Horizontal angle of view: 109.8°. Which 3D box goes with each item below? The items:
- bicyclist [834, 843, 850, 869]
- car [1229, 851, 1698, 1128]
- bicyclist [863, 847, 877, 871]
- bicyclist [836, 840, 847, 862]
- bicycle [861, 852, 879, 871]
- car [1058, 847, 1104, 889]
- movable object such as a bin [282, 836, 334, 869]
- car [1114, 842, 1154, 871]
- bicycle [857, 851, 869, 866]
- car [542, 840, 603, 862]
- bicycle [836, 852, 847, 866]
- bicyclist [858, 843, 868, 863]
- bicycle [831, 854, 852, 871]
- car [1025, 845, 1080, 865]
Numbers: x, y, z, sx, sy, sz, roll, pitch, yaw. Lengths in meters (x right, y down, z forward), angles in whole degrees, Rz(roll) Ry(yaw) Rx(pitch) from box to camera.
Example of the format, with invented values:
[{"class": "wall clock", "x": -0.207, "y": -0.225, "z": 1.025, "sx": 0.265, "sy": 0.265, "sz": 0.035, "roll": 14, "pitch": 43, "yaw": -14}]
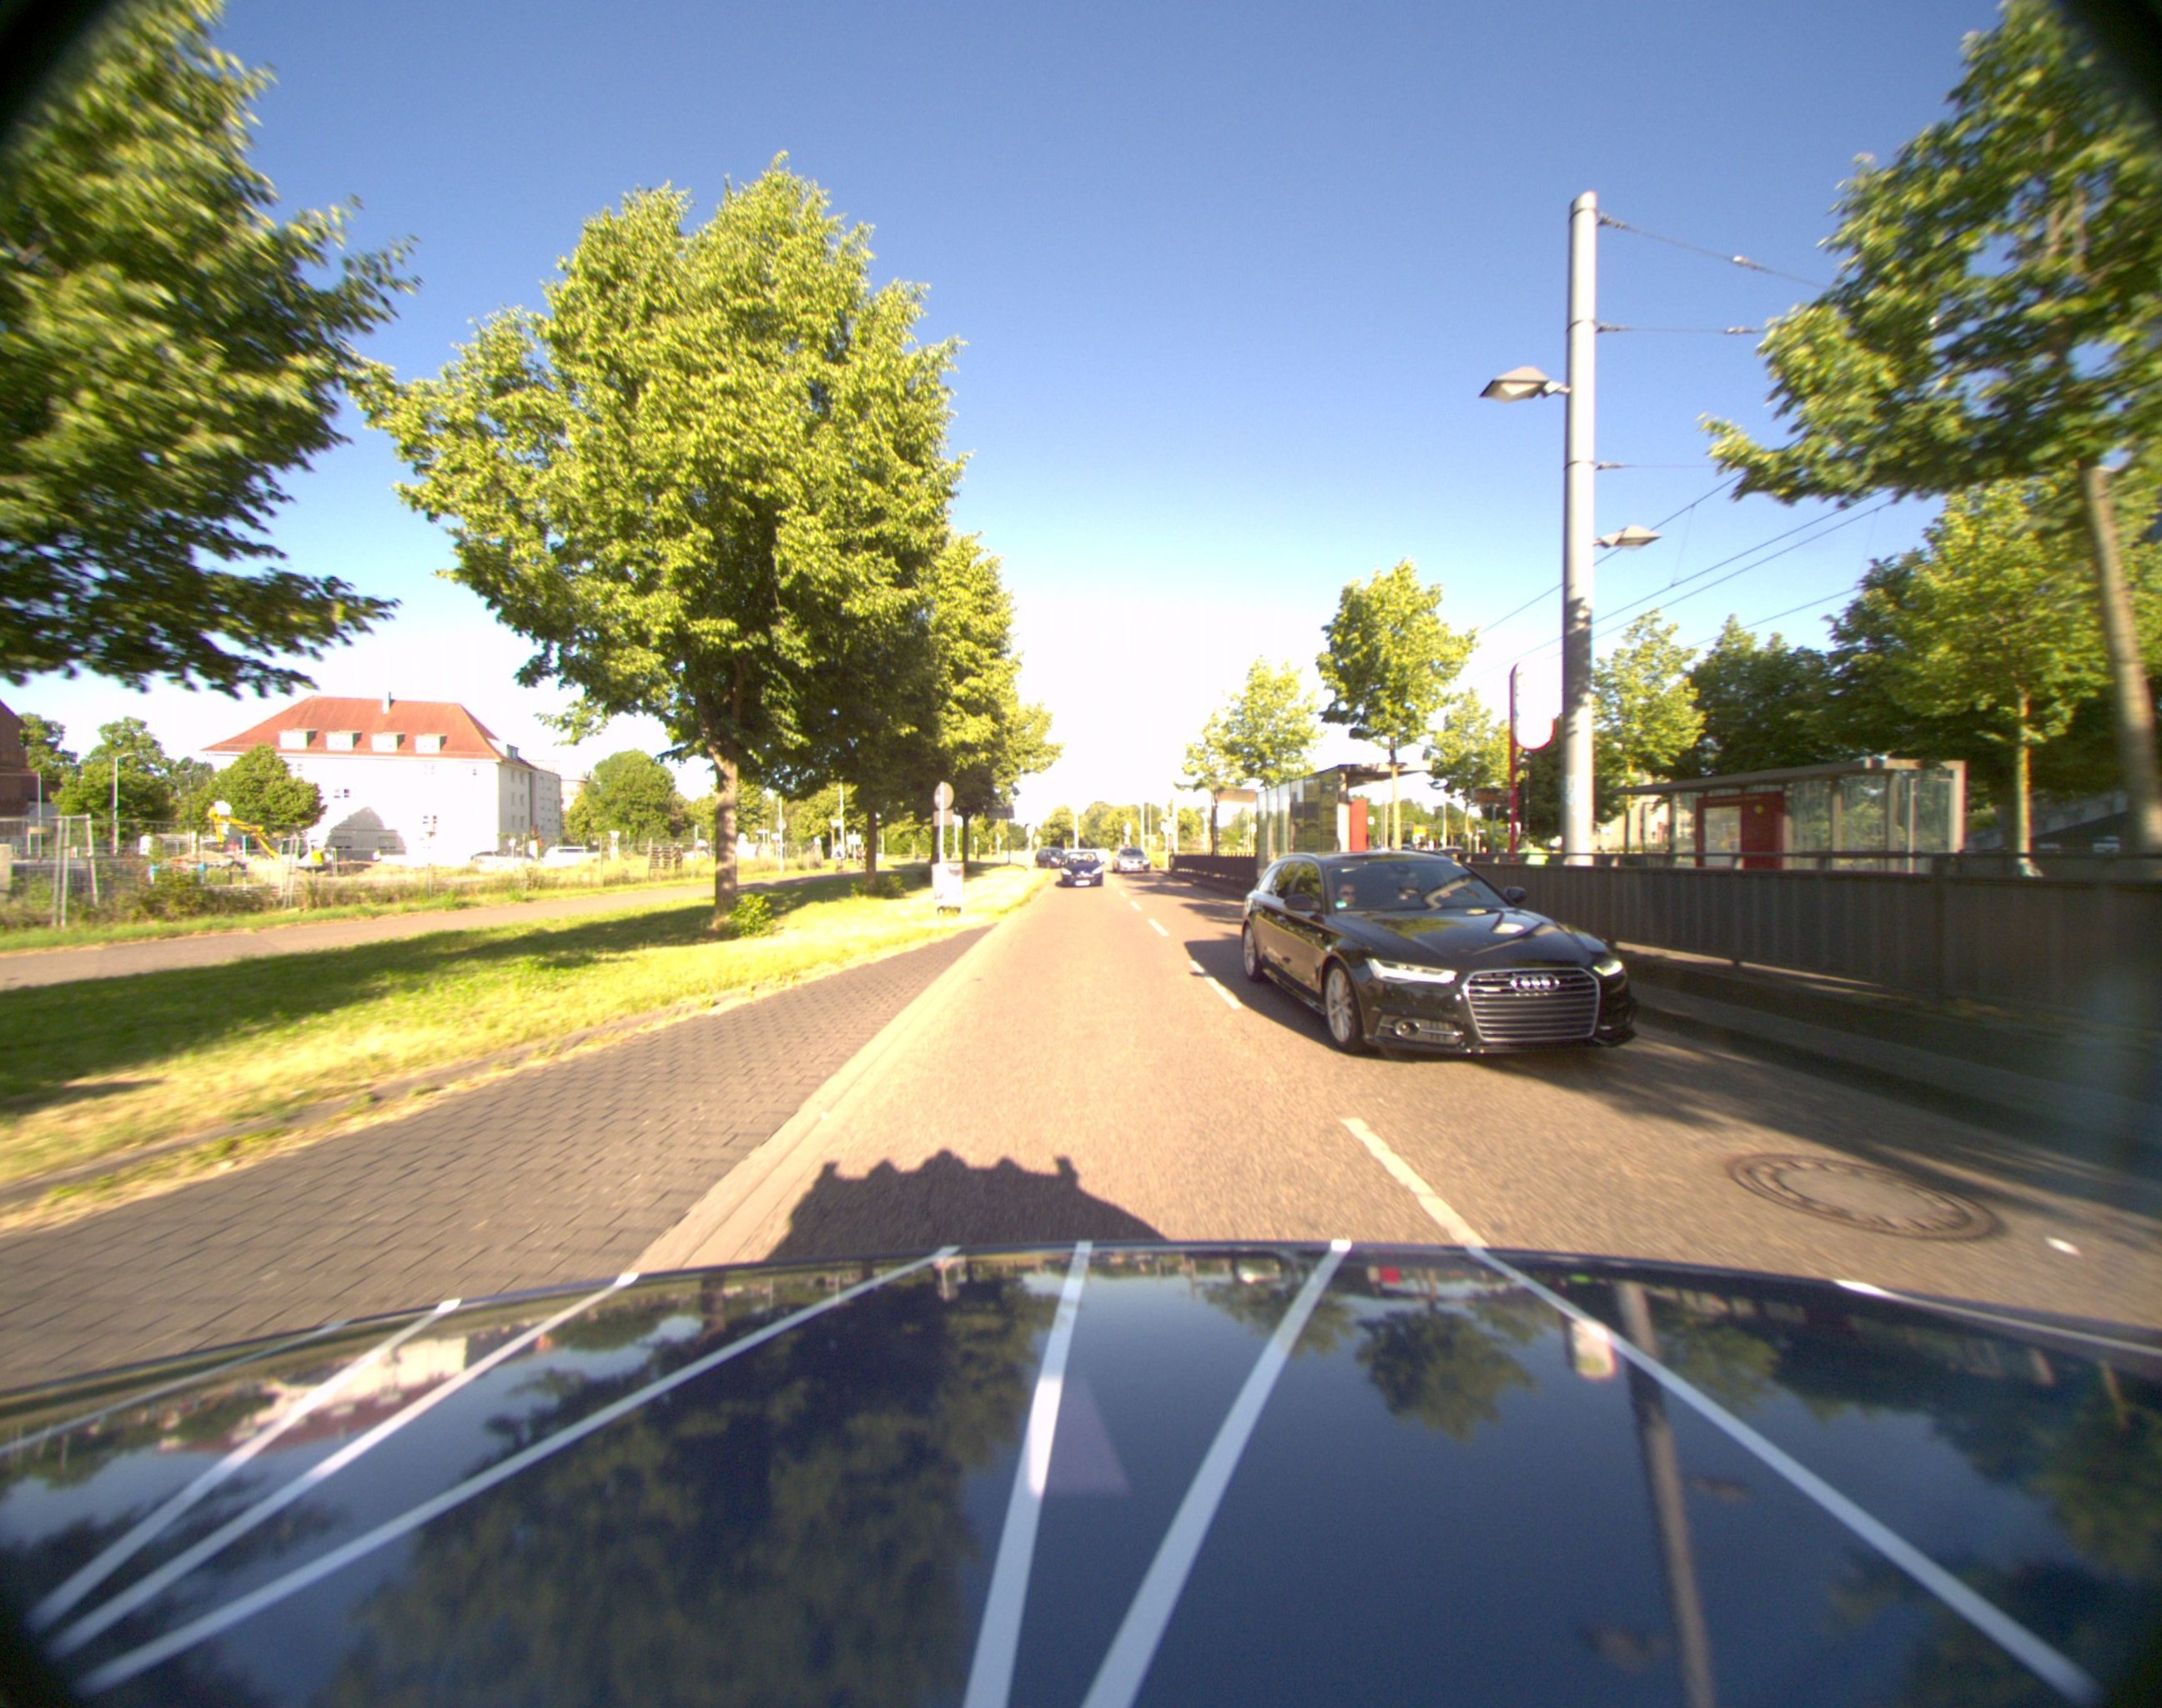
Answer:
[{"class": "bicyclist", "x": -14.378, "y": 0.108, "z": 45.669, "sx": 0.654, "sy": 1.544, "sz": 0.794, "roll": -1, "pitch": 2, "yaw": 1}, {"class": "car", "x": 2.694, "y": 0.787, "z": 6.742, "sx": 1.789, "sy": 1.518, "sz": 4.600, "roll": -1, "pitch": 1, "yaw": -1}, {"class": "bicyclist", "x": -12.855, "y": 0.310, "z": 46.315, "sx": 0.504, "sy": 1.464, "sz": 0.834, "roll": 0, "pitch": 2, "yaw": 3}, {"class": "bicyclist", "x": -17.771, "y": -0.213, "z": 56.326, "sx": 0.594, "sy": 1.578, "sz": 0.963, "roll": -2, "pitch": 3, "yaw": -23}, {"class": "bicycle", "x": -12.858, "y": 0.445, "z": 46.310, "sx": 0.507, "sy": 1.145, "sz": 1.605, "roll": 0, "pitch": 1, "yaw": 3}, {"class": "car", "x": 0.072, "y": 0.549, "z": 32.332, "sx": 1.763, "sy": 1.507, "sz": 3.946, "roll": -2, "pitch": 2, "yaw": 2}, {"class": "movable object such as a bin", "x": -49.838, "y": -0.140, "z": 49.041, "sx": 2.072, "sy": 2.003, "sz": 1.994, "roll": -3, "pitch": 4, "yaw": -41}, {"class": "car", "x": 3.062, "y": 0.103, "z": 44.399, "sx": 1.849, "sy": 1.560, "sz": 4.526, "roll": 0, "pitch": 1, "yaw": -2}, {"class": "bicycle", "x": -16.520, "y": 0.306, "z": 57.534, "sx": 0.480, "sy": 1.076, "sz": 1.640, "roll": -2, "pitch": 3, "yaw": -28}, {"class": "car", "x": -48.136, "y": -0.318, "z": 72.012, "sx": 4.481, "sy": 2.002, "sz": 1.994, "roll": -2, "pitch": 2, "yaw": -43}, {"class": "bicycle", "x": -17.746, "y": 0.361, "z": 56.294, "sx": 0.594, "sy": 0.955, "sz": 1.896, "roll": -2, "pitch": 3, "yaw": -23}, {"class": "bicyclist", "x": -16.524, "y": -0.073, "z": 57.514, "sx": 0.472, "sy": 1.478, "sz": 0.913, "roll": -2, "pitch": 3, "yaw": -28}, {"class": "bicycle", "x": -14.396, "y": 0.505, "z": 45.654, "sx": 0.657, "sy": 1.006, "sz": 1.820, "roll": 0, "pitch": 1, "yaw": 0}, {"class": "car", "x": -2.128, "y": 0.088, "z": 55.543, "sx": 1.854, "sy": 1.419, "sz": 3.936, "roll": 0, "pitch": 0, "yaw": -44}]
